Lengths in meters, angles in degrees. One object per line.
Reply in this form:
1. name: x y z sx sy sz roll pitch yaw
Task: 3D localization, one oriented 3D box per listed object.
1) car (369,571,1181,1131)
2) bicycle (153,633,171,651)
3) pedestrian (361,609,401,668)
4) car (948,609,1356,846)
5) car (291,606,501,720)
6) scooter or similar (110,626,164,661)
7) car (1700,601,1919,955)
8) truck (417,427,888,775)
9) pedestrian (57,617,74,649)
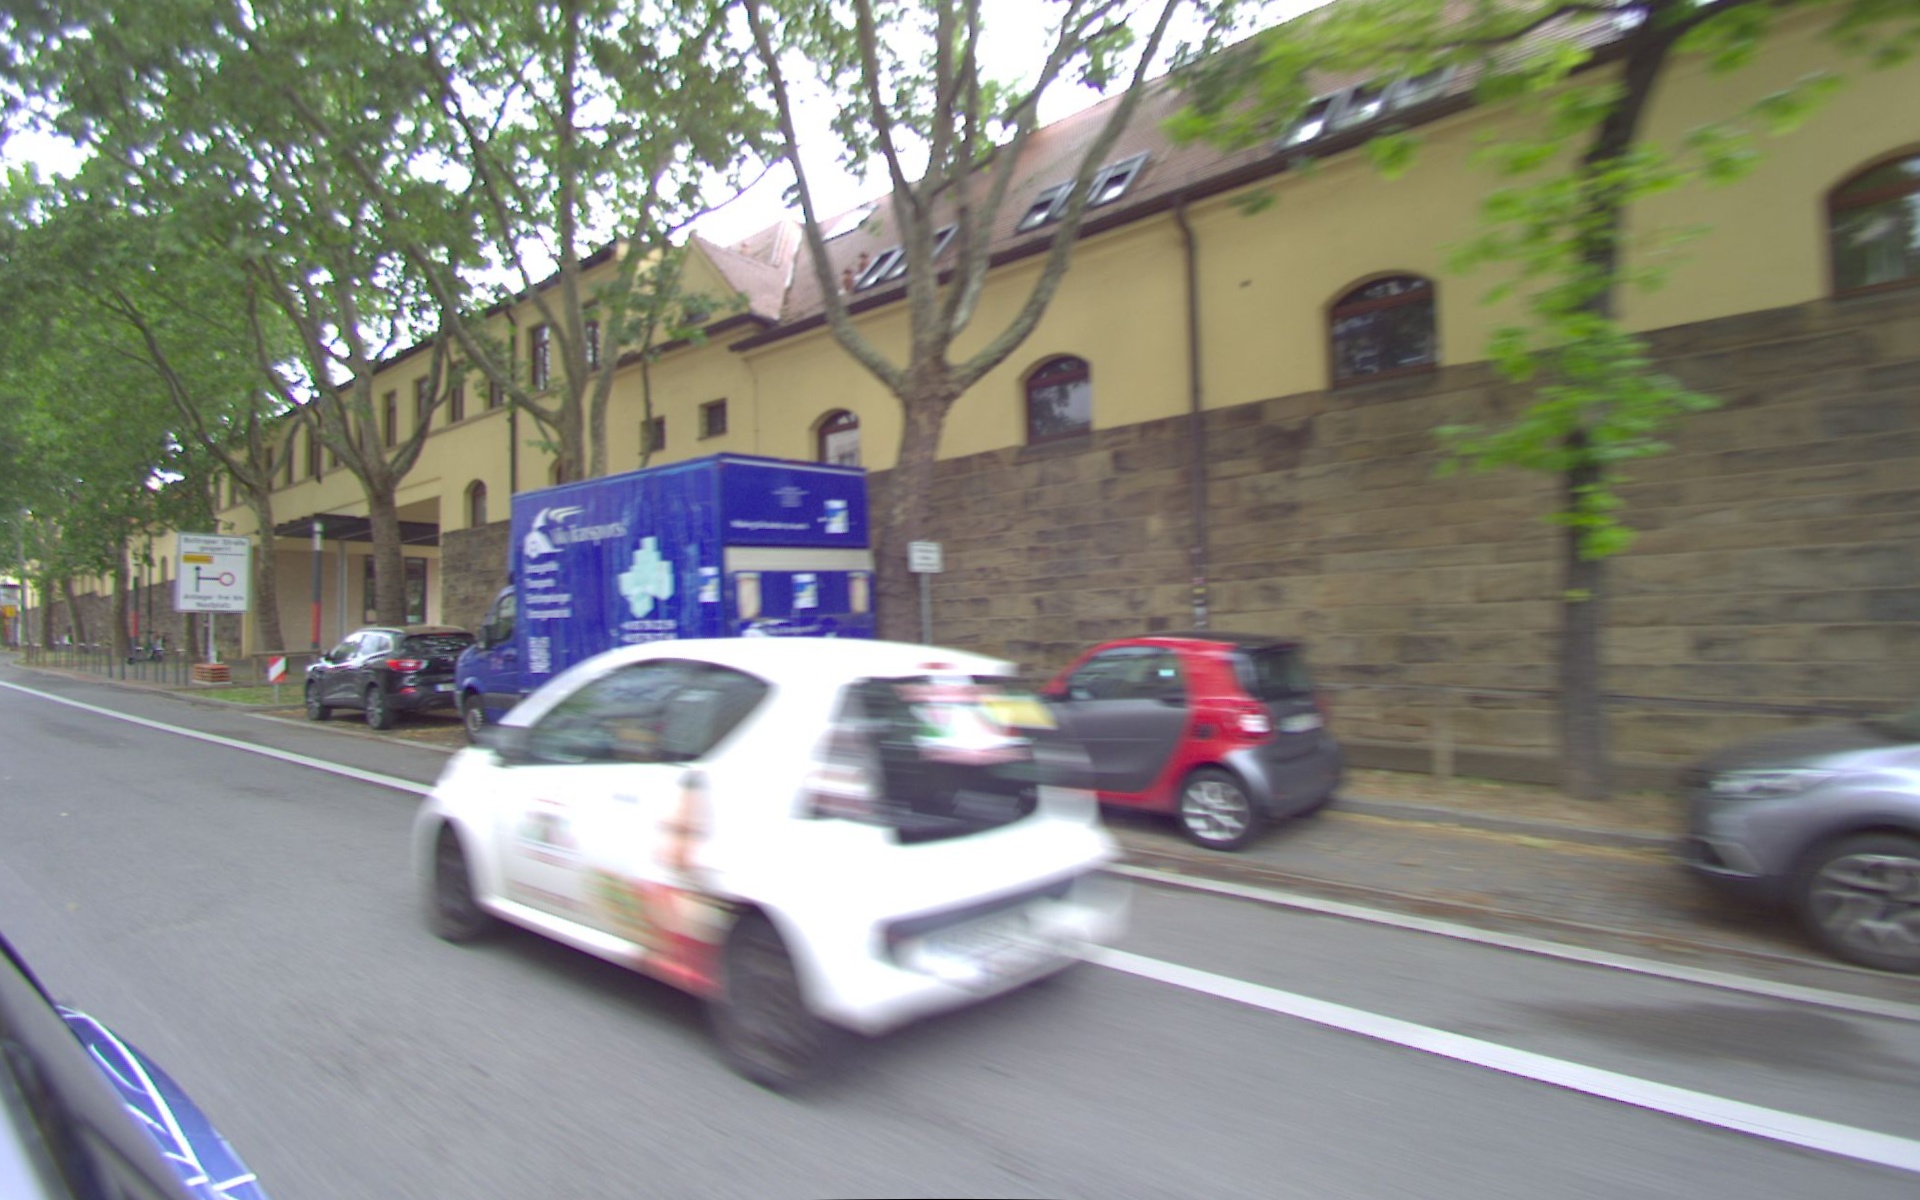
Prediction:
1. car: -1.043 0.737 4.491 3.649 1.475 1.566 -1 -4 41
2. bicycle: -38.278 1.989 48.536 1.775 0.852 0.332 -1 -2 41
3. pedestrian: -17.140 1.120 29.962 0.851 1.700 0.928 -1 0 -41
4. car: 1.524 0.915 8.442 2.989 1.585 1.466 -2 -1 40
5. car: -9.741 0.974 17.345 4.248 1.702 1.714 -1 0 40
6. scooter or similar: -31.374 1.655 38.589 0.443 1.249 1.611 -1 0 18
7. car: 5.819 0.801 4.480 4.080 1.585 1.579 -1 0 37
8. truck: -4.335 0.056 13.155 7.240 3.442 2.193 -1 0 40
9. pedestrian: -52.876 1.926 59.830 0.816 1.890 0.664 -2 -2 42
